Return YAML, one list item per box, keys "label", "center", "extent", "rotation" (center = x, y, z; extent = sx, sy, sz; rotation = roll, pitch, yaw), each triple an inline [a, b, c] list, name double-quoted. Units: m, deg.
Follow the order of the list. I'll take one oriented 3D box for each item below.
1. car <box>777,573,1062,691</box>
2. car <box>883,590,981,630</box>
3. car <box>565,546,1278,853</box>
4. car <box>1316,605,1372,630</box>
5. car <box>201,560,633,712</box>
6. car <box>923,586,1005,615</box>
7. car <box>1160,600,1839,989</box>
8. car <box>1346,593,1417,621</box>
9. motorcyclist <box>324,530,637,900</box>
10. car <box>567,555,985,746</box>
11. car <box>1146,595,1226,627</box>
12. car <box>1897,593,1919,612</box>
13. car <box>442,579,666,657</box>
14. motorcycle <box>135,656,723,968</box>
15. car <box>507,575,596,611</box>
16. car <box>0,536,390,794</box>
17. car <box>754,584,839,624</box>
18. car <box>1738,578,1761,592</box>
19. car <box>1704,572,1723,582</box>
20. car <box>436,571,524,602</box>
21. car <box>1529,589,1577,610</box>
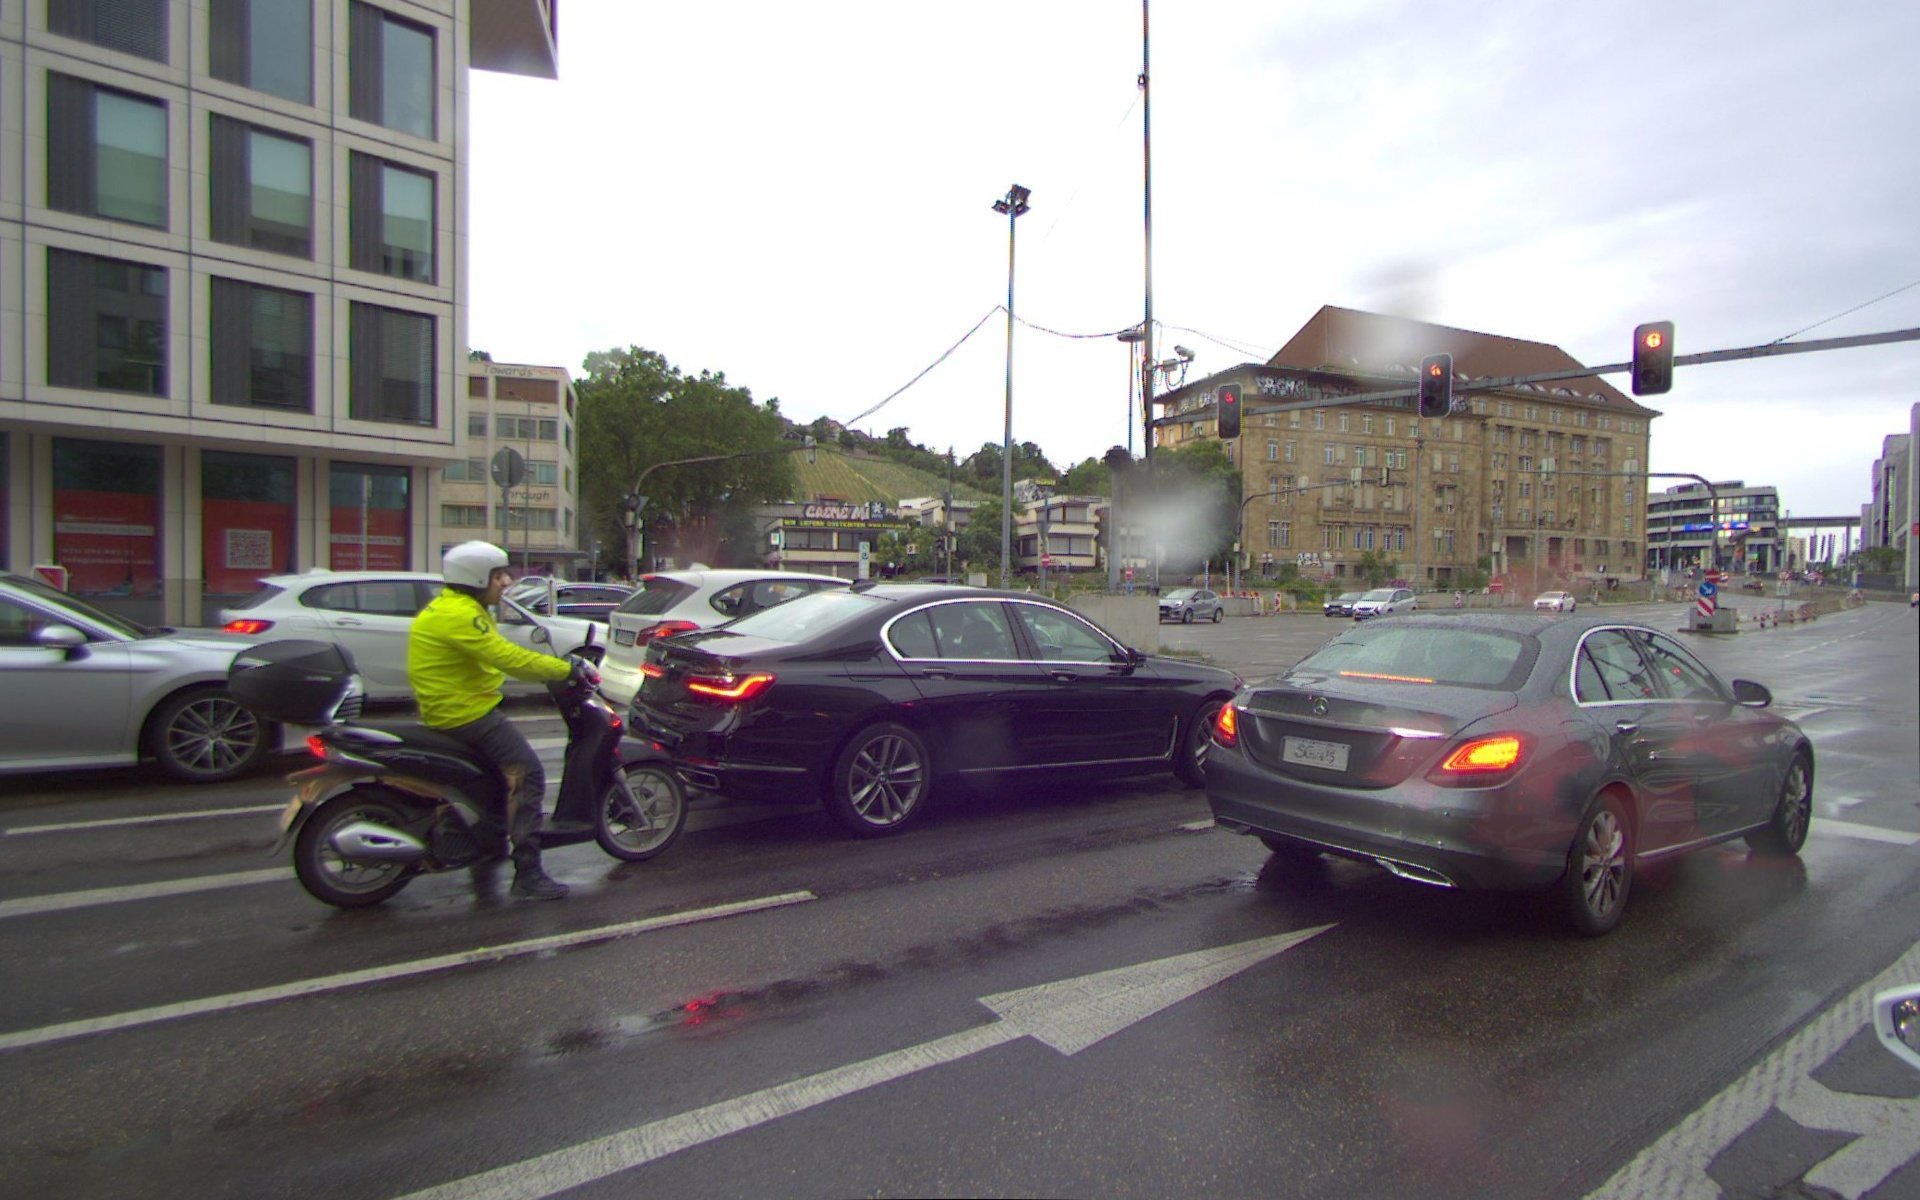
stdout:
- label: "car"
  center: [-0.616, 0.500, 15.592]
  extent: [4.021, 1.621, 1.776]
  rotation: [2, 1, -27]
- label: "car"
  center: [-1.365, 0.458, 48.826]
  extent: [4.318, 1.684, 1.996]
  rotation: [3, 1, 32]
- label: "car"
  center: [-0.019, 0.546, 7.270]
  extent: [4.957, 1.535, 1.873]
  rotation: [2, 1, -37]
- label: "car"
  center: [21.798, 0.992, 56.954]
  extent: [3.308, 1.277, 1.720]
  rotation: [2, 1, -45]
- label: "car"
  center: [-5.892, 0.363, 11.113]
  extent: [3.957, 1.391, 1.770]
  rotation: [2, 1, -38]
- label: "car"
  center: [0.192, 0.018, 52.694]
  extent: [3.925, 1.339, 1.652]
  rotation: [3, 1, 26]
- label: "car"
  center: [3.358, 0.745, 5.883]
  extent: [4.443, 1.421, 1.770]
  rotation: [0, 2, -37]
- label: "car"
  center: [21.685, 0.357, 51.591]
  extent: [4.164, 1.277, 1.751]
  rotation: [2, 1, -43]
- label: "motorcyclist"
  center: [-2.275, 0.464, 4.763]
  extent: [1.092, 1.495, 0.933]
  rotation: [2, 1, -41]
- label: "car"
  center: [-1.809, 0.462, 10.573]
  extent: [3.968, 1.637, 1.718]
  rotation: [2, 1, -41]
- label: "car"
  center: [10.240, 0.514, 45.428]
  extent: [3.974, 1.277, 1.607]
  rotation: [2, 1, -45]
- label: "car"
  center: [88.675, 0.233, 93.176]
  extent: [1.967, 1.662, 3.987]
  rotation: [3, 1, 35]
- label: "car"
  center: [-8.687, 0.394, 21.723]
  extent: [4.162, 1.539, 1.681]
  rotation: [2, -1, -43]
- label: "motorcycle"
  center: [-2.370, 0.823, 4.703]
  extent: [2.277, 1.002, 0.933]
  rotation: [1, 1, -42]
- label: "car"
  center: [-21.677, -0.377, 53.301]
  extent: [4.369, 1.671, 1.998]
  rotation: [3, 1, 27]
- label: "car"
  center: [-6.540, 0.346, 6.509]
  extent: [4.756, 1.541, 1.817]
  rotation: [2, 1, -37]
- label: "car"
  center: [-7.602, 0.173, 46.402]
  extent: [3.939, 1.617, 1.668]
  rotation: [3, 1, 40]
- label: "car"
  center: [128.709, -2.414, 163.781]
  extent: [1.962, 2.040, 3.996]
  rotation: [3, 1, 25]
- label: "car"
  center: [145.165, -4.393, 193.501]
  extent: [1.961, 1.840, 3.998]
  rotation: [3, 1, 23]
- label: "car"
  center: [-29.354, -0.822, 61.512]
  extent: [4.363, 1.670, 2.000]
  rotation: [3, 1, 2]
- label: "car"
  center: [41.065, -0.004, 69.510]
  extent: [3.971, 1.277, 1.751]
  rotation: [2, 1, -43]
